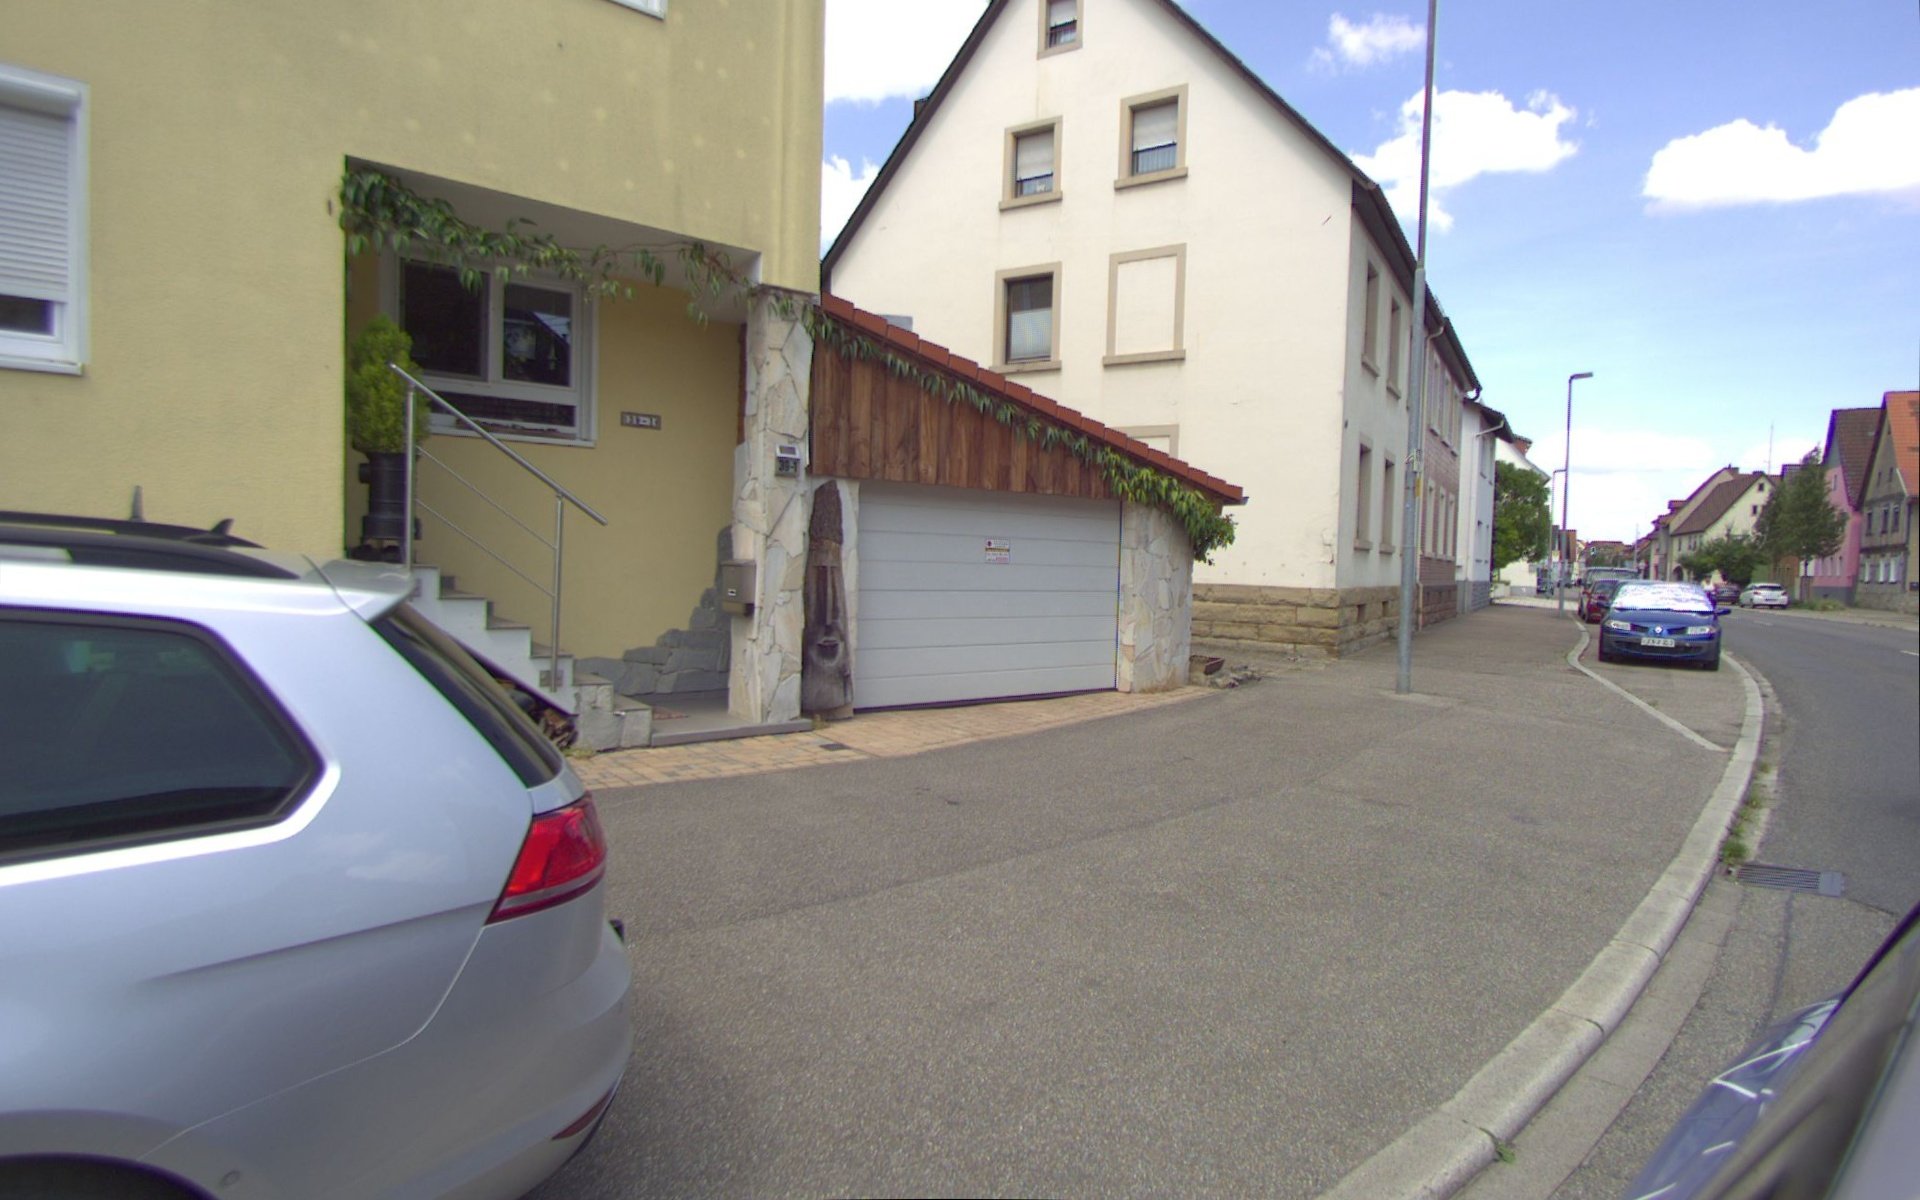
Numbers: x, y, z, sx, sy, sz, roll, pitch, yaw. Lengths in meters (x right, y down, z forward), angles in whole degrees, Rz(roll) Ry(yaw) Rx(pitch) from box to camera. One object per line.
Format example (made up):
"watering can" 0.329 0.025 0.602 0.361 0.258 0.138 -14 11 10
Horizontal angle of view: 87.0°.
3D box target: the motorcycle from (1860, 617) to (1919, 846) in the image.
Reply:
"motorcycle" 6.331 0.737 5.924 2.061 1.256 0.987 0 0 -30

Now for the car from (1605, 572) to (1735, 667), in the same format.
"car" 12.931 0.252 18.336 1.719 1.402 3.947 3 4 38

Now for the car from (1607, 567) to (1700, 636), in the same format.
"car" 17.407 0.056 25.451 1.762 1.549 3.950 2 0 34

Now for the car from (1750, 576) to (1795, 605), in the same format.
"car" 46.993 -0.582 58.583 1.672 1.548 3.459 1 3 33

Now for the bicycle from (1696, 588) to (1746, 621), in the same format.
"bicycle" 24.792 0.154 32.957 1.891 1.024 0.933 1 1 -42

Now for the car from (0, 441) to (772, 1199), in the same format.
"car" -2.613 0.514 1.297 4.257 1.548 1.891 -1 5 -38

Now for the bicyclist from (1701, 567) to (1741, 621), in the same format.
"bicyclist" 24.772 -0.214 32.947 0.748 1.709 0.909 -2 2 -40

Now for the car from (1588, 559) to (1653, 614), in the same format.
"car" 25.746 -0.593 39.584 1.916 1.939 5.190 1 3 31

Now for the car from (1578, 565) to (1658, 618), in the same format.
"car" 22.171 -0.329 34.227 1.648 1.668 3.968 0 1 24
